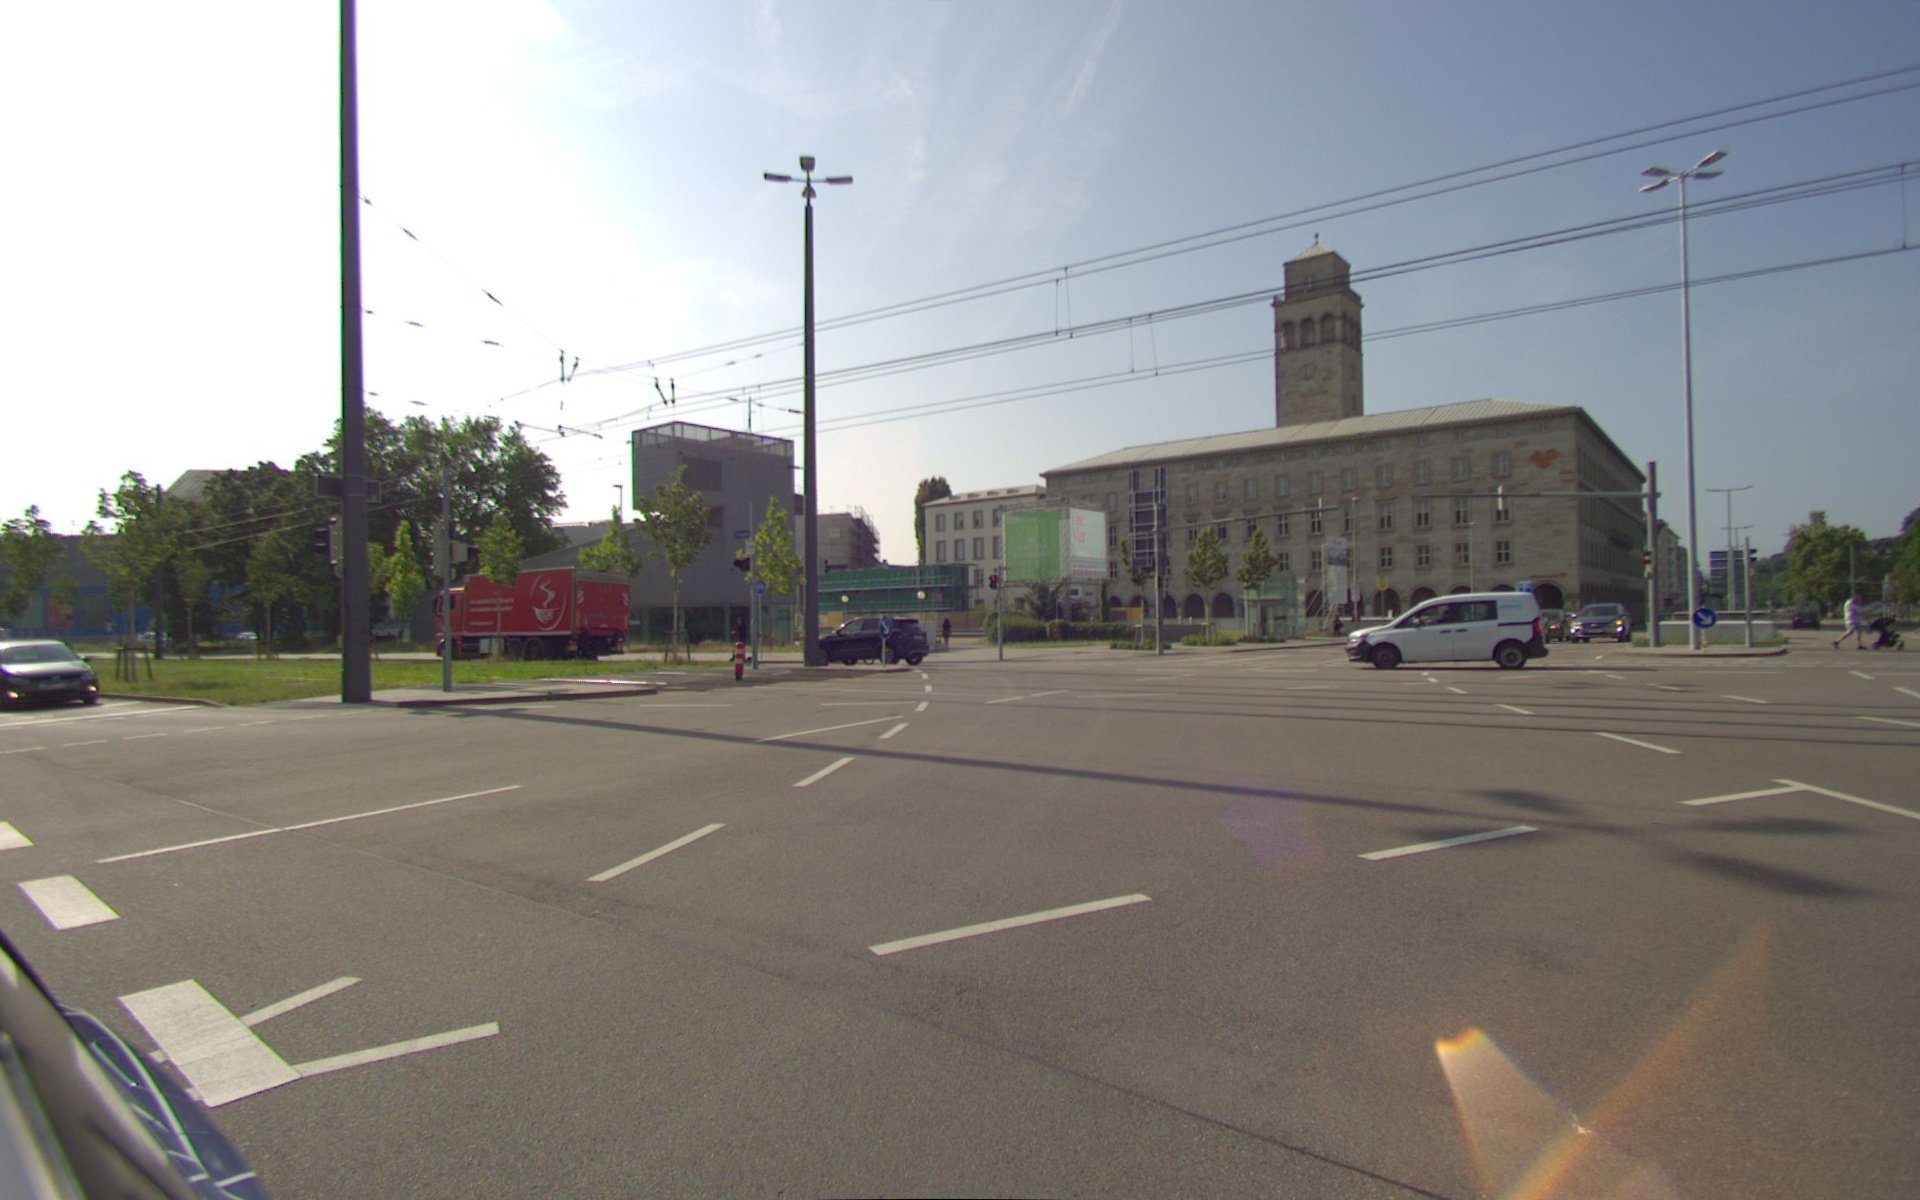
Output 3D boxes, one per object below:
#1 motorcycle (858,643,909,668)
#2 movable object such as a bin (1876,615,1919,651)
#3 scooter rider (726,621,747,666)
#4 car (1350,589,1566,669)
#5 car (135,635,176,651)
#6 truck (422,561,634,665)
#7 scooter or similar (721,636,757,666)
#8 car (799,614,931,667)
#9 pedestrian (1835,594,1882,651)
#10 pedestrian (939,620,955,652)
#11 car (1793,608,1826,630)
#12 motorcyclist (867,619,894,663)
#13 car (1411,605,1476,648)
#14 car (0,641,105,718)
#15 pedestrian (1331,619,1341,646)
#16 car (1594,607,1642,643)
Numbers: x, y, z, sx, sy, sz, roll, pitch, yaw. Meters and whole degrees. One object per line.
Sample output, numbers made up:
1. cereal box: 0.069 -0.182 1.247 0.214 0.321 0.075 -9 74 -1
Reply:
1. motorcycle: -2.725 1.979 36.108 1.814 0.839 0.515 -2 -2 28
2. movable object such as a bin: 28.691 1.001 30.972 0.907 1.082 0.558 -2 -2 39
3. scooter rider: -8.659 1.673 39.223 0.547 1.711 0.533 -2 -1 30
4. car: 11.925 0.726 24.504 4.493 1.802 1.607 -2 -1 26
5. car: -93.448 5.031 117.532 4.800 1.781 2.001 -2 -1 28
6. truck: -17.958 0.647 41.639 10.396 3.838 2.947 -2 -1 35
7. scooter or similar: -8.613 1.990 39.410 1.378 1.155 0.535 -2 -1 30
8. car: -3.051 1.299 32.363 3.981 1.613 1.629 -2 -1 28
9. pedestrian: 27.994 0.688 31.553 1.005 1.747 0.554 -2 -1 39
10. pedestrian: -0.685 1.916 54.123 0.537 1.710 0.599 -3 -2 39
11. car: 69.081 1.513 82.330 1.885 1.732 3.949 -2 -2 38
12. motorcyclist: -2.853 1.469 36.184 0.857 1.539 0.388 -2 -2 28
13. car: 23.699 1.283 49.559 1.997 2.029 3.948 -2 -1 38
14. car: -20.460 1.692 22.205 3.862 1.443 1.689 -2 1 36
15. pedestrian: 24.795 2.117 66.753 0.574 1.744 0.643 -2 -1 23
16. car: 27.511 1.041 42.315 1.565 1.431 3.304 -2 -1 34
